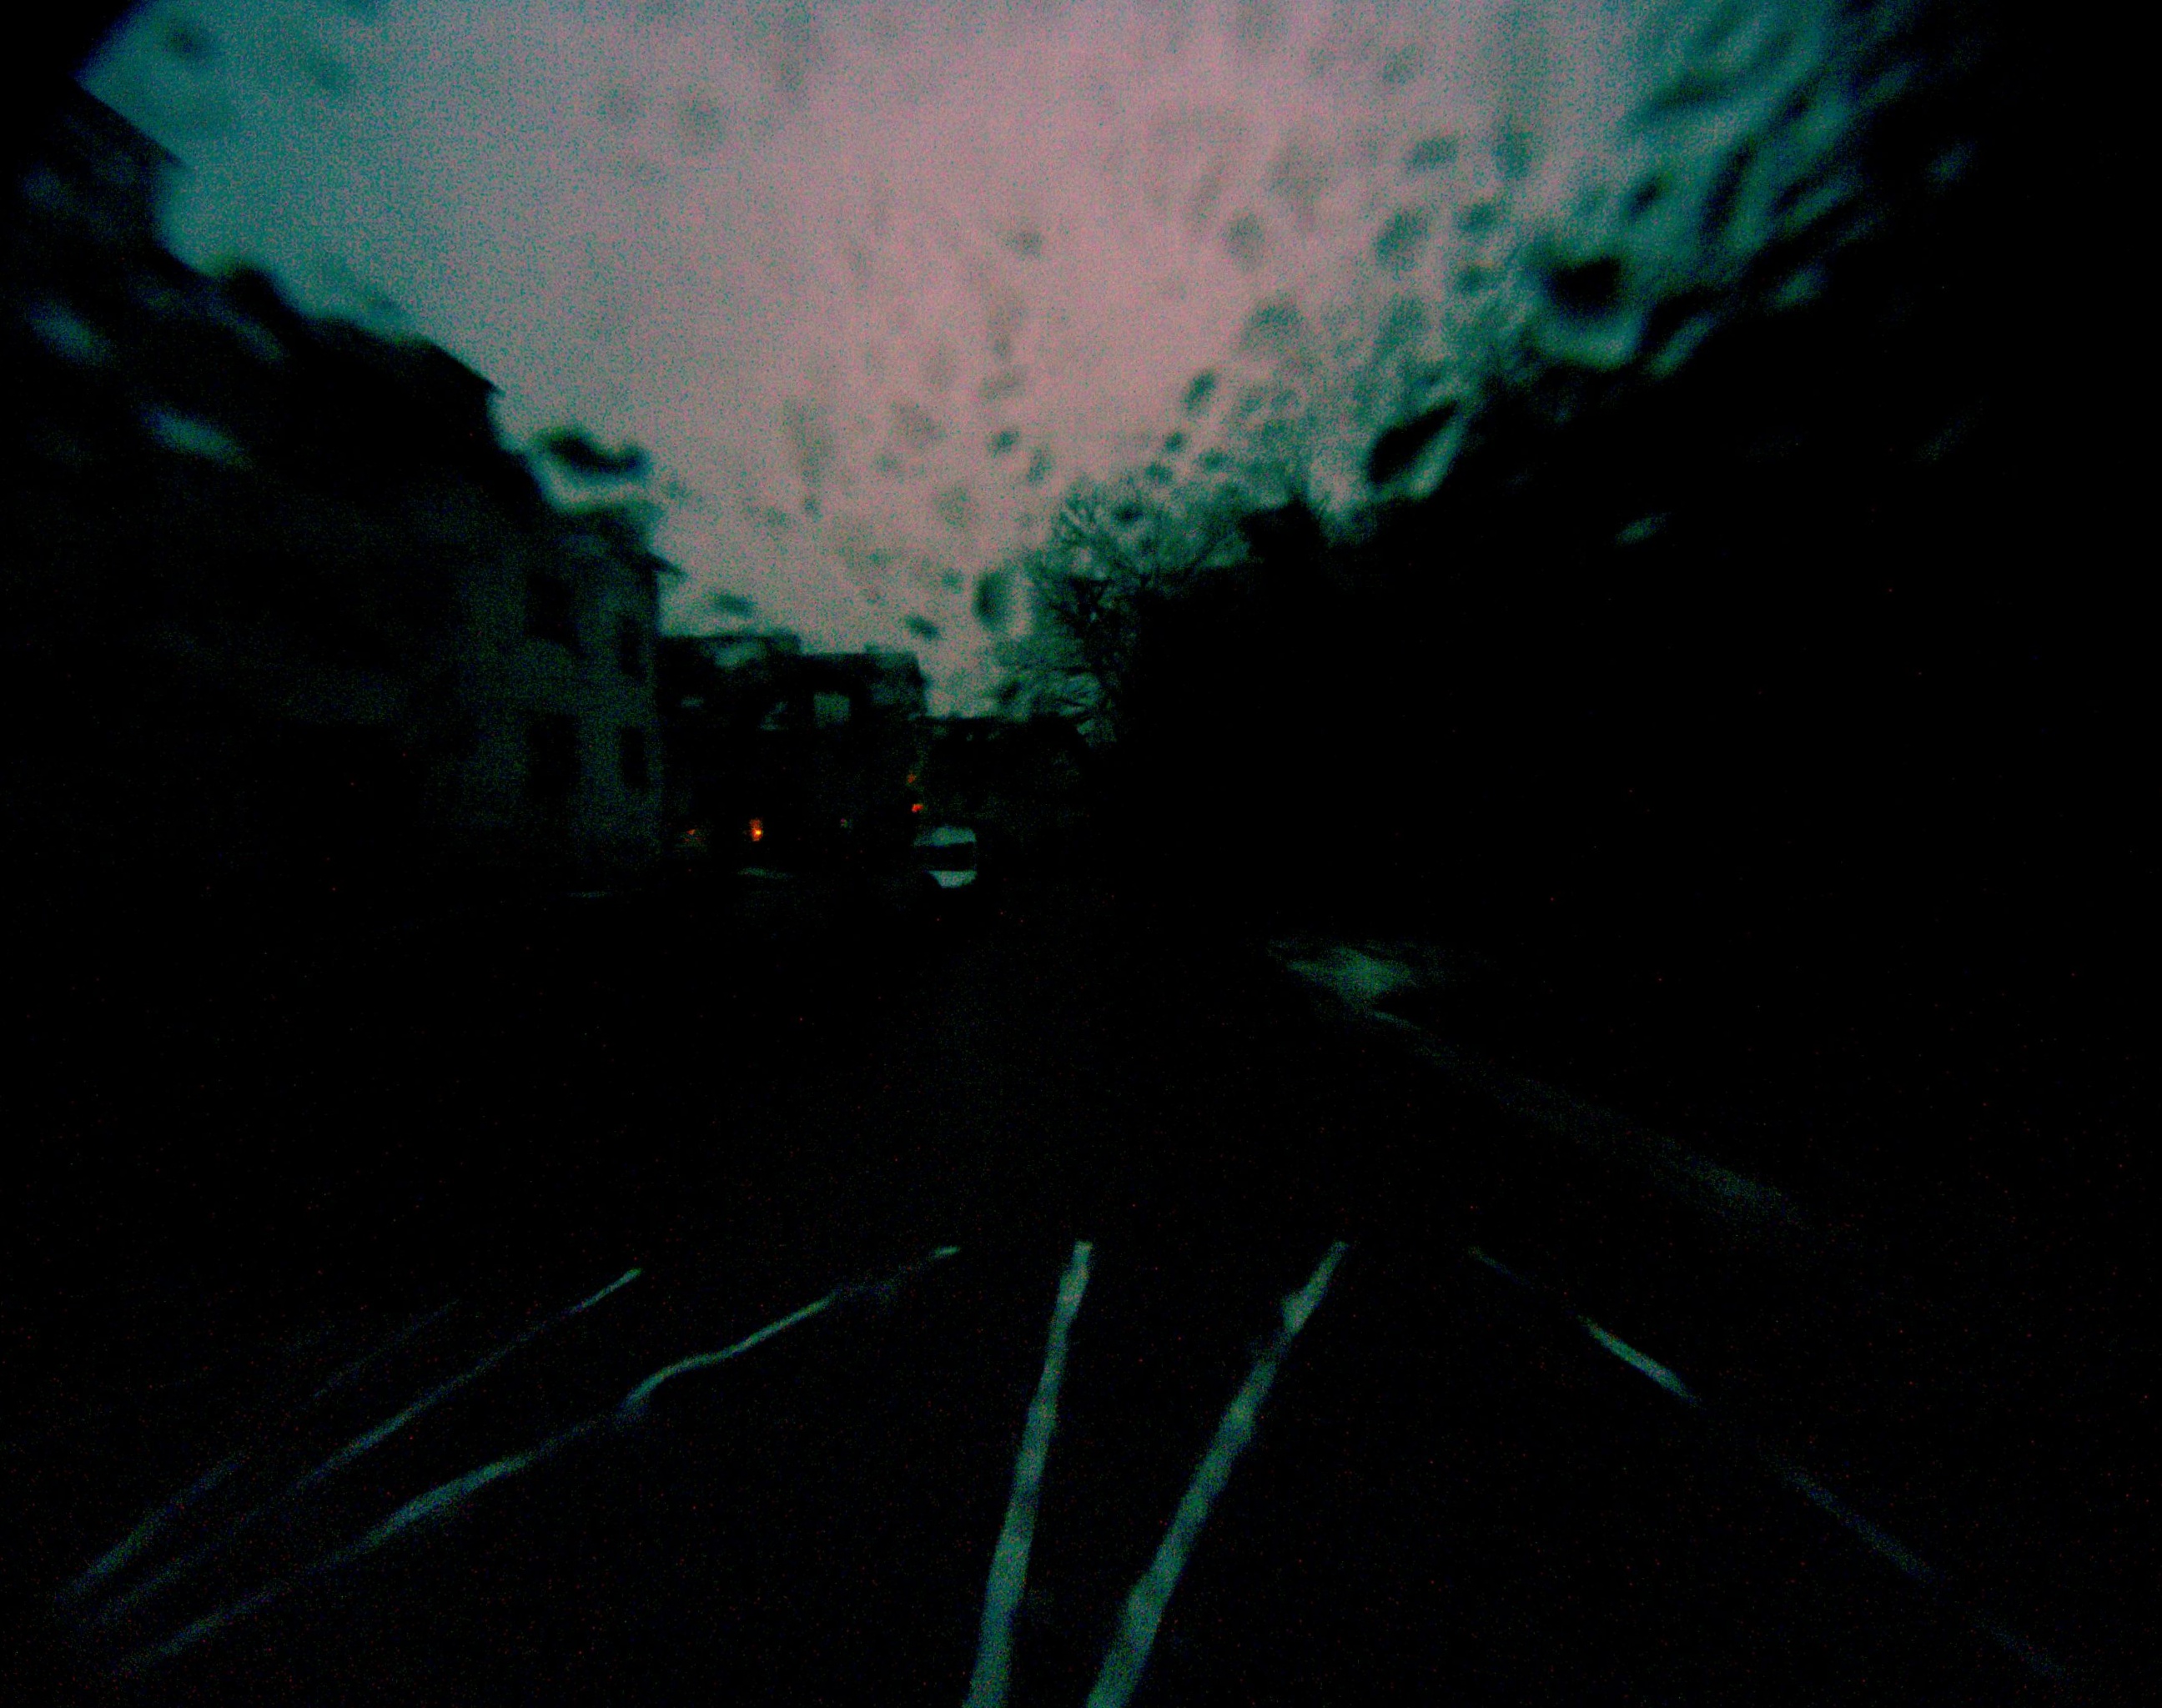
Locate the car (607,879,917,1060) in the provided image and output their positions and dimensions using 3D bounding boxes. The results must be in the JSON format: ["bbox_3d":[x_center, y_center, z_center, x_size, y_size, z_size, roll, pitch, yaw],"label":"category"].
[{"bbox_3d":[-3.236,1.074,8.822,1.659,1.382,4.532,0,0,0],"label":"car"}]

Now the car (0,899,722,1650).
[{"bbox_3d":[-3.255,1.063,2.869,1.660,1.421,4.563,-3,0,-1],"label":"car"}]

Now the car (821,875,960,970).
[{"bbox_3d":[-3.382,1.148,14.248,1.660,1.382,4.122,0,0,-1],"label":"car"}]

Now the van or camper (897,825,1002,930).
[{"bbox_3d":[-3.484,0.577,21.511,2.020,2.493,6.791,0,0,-2],"label":"van or camper"}]
